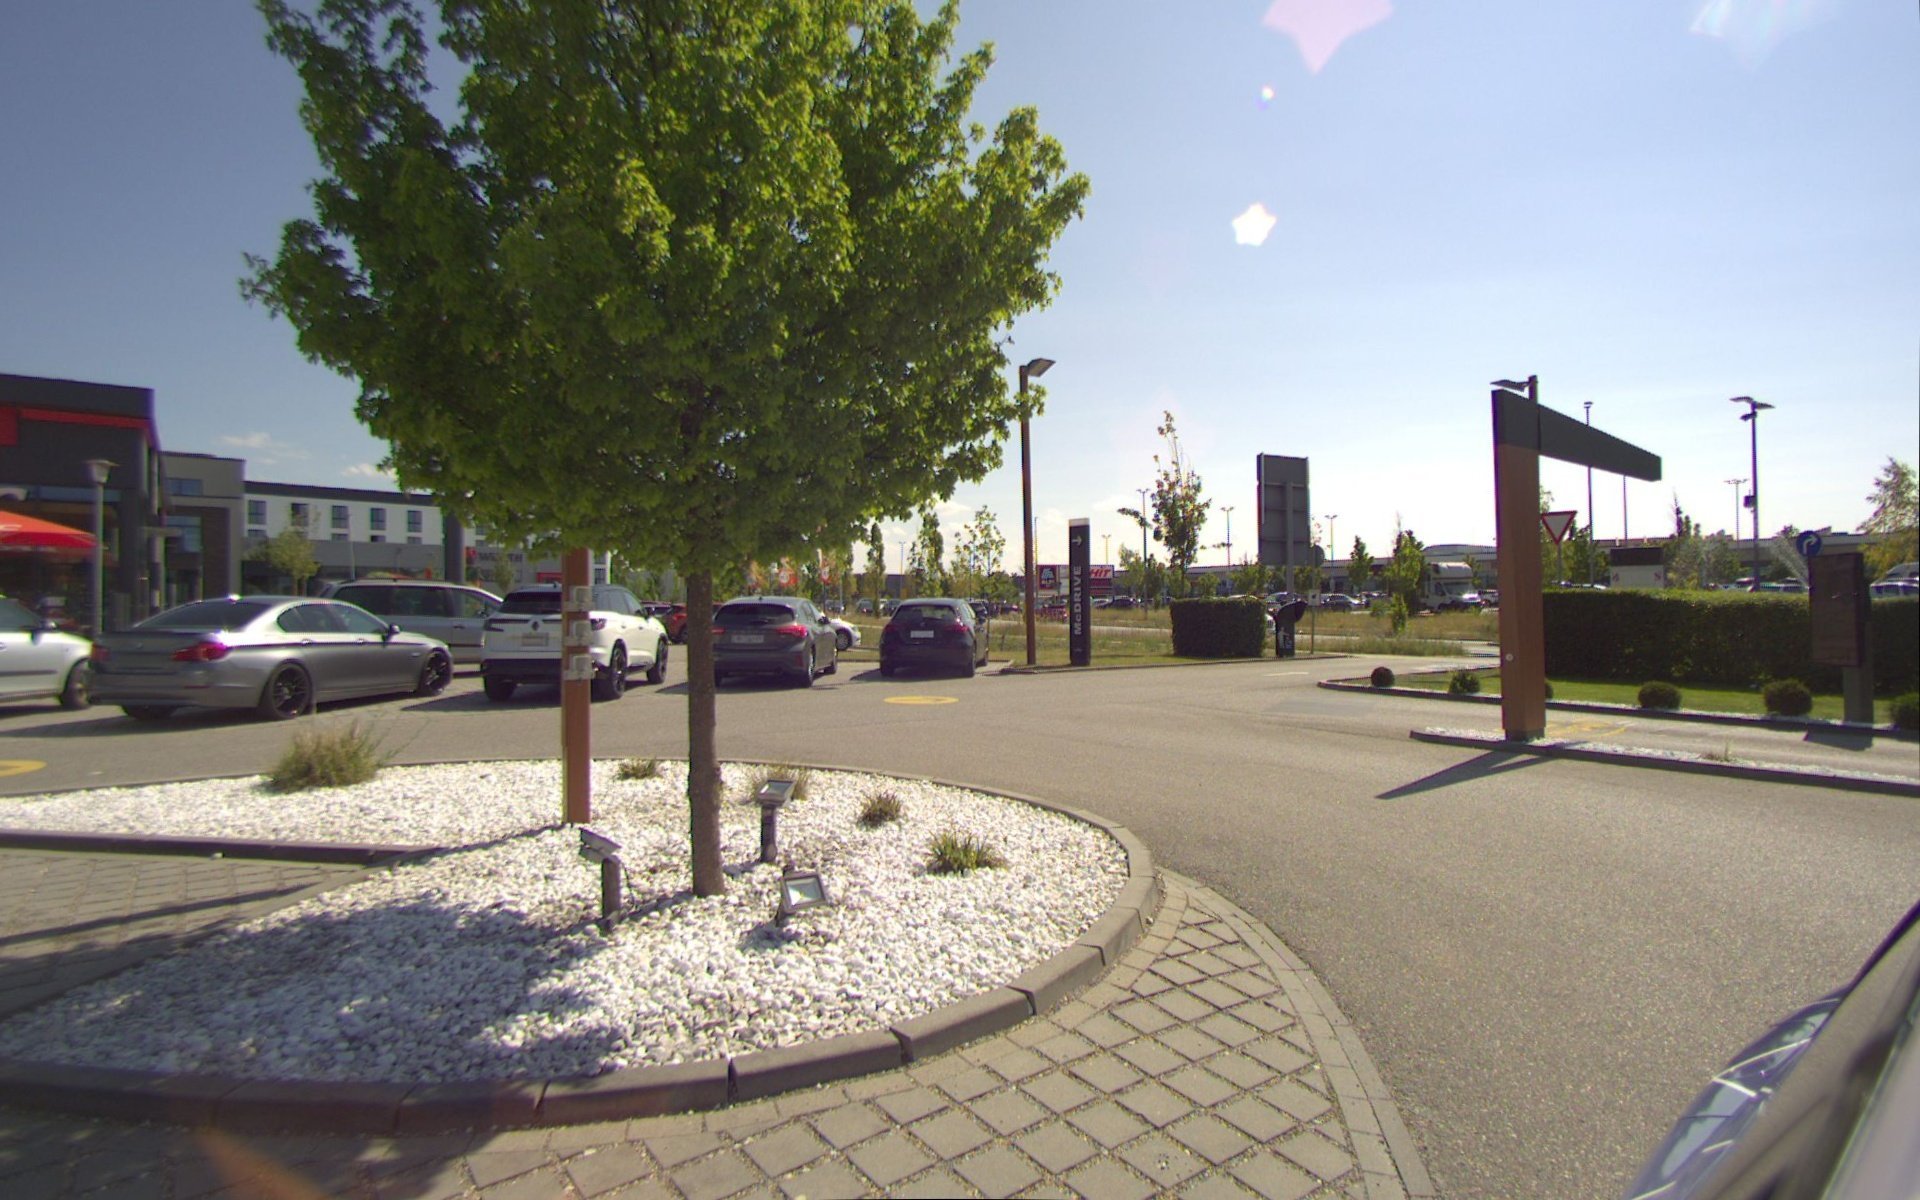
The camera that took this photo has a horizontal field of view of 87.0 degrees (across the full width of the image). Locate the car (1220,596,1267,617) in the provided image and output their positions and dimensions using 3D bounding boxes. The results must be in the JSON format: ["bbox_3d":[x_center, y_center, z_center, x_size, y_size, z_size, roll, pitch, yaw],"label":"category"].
[{"bbox_3d":[22.073,0.507,78.781,3.154,1.576,1.543,0,0,-10],"label":"car"}]

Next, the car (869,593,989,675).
[{"bbox_3d":[-0.506,0.608,19.735,1.880,1.440,3.769,0,0,6],"label":"car"}]

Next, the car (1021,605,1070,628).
[{"bbox_3d":[5.615,1.054,66.908,1.601,1.462,3.582,0,0,-25],"label":"car"}]

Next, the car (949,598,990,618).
[{"bbox_3d":[0.700,0.609,79.749,1.724,1.482,4.007,0,0,-24],"label":"car"}]

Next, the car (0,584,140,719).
[{"bbox_3d":[-11.695,0.585,11.388,1.743,1.530,4.357,0,0,-6],"label":"car"}]

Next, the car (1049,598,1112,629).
[{"bbox_3d":[6.441,0.724,54.556,1.535,1.616,3.452,0,0,-33],"label":"car"}]

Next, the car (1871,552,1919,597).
[{"bbox_3d":[51.214,-1.323,51.767,2.258,2.272,6.567,0,0,-38],"label":"car"}]

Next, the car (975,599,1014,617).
[{"bbox_3d":[2.841,0.637,84.660,1.724,1.482,4.007,0,0,-24],"label":"car"}]

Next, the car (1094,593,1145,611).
[{"bbox_3d":[13.677,0.163,86.831,3.973,1.482,1.739,0,0,35],"label":"car"}]

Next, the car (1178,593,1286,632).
[{"bbox_3d":[10.705,0.463,40.140,1.700,1.440,4.329,0,0,-27],"label":"car"}]

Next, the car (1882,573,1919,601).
[{"bbox_3d":[48.607,-0.646,50.283,1.635,1.359,3.905,0,0,-38],"label":"car"}]

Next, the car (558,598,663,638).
[{"bbox_3d":[-13.768,0.679,39.869,3.680,1.472,1.689,0,0,-30],"label":"car"}]

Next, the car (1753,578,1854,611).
[{"bbox_3d":[46.684,-0.307,56.033,4.171,1.750,1.896,0,0,-6],"label":"car"}]

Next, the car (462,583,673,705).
[{"bbox_3d":[-5.705,0.577,15.263,1.771,1.576,4.057,0,0,-3],"label":"car"}]

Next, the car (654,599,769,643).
[{"bbox_3d":[-8.853,0.718,36.114,3.680,1.472,1.689,0,0,-30],"label":"car"}]

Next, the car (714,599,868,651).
[{"bbox_3d":[-4.960,0.699,29.747,4.072,1.416,1.890,0,0,-30],"label":"car"}]

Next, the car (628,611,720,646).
[{"bbox_3d":[-12.835,1.268,45.390,3.680,1.472,1.689,0,0,-30],"label":"car"}]

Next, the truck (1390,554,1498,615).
[{"bbox_3d":[28.952,-0.903,60.968,2.374,3.394,7.572,-1,0,-4],"label":"truck"}]

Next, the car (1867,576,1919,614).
[{"bbox_3d":[44.874,-0.235,46.955,1.861,1.750,3.993,0,0,-41],"label":"car"}]

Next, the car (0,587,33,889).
[{"bbox_3d":[-6.581,0.659,4.442,3.839,1.444,1.702,0,0,9],"label":"car"}]

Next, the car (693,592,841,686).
[{"bbox_3d":[-3.208,0.602,17.593,1.763,1.440,4.086,0,0,0],"label":"car"}]

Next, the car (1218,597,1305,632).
[{"bbox_3d":[14.179,0.645,47.773,1.766,1.579,3.778,0,0,-30],"label":"car"}]

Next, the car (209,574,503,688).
[{"bbox_3d":[-10.649,0.481,17.972,4.286,1.772,2.071,0,0,-37],"label":"car"}]

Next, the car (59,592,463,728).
[{"bbox_3d":[-8.535,0.632,13.000,1.682,1.429,4.675,0,0,5],"label":"car"}]
